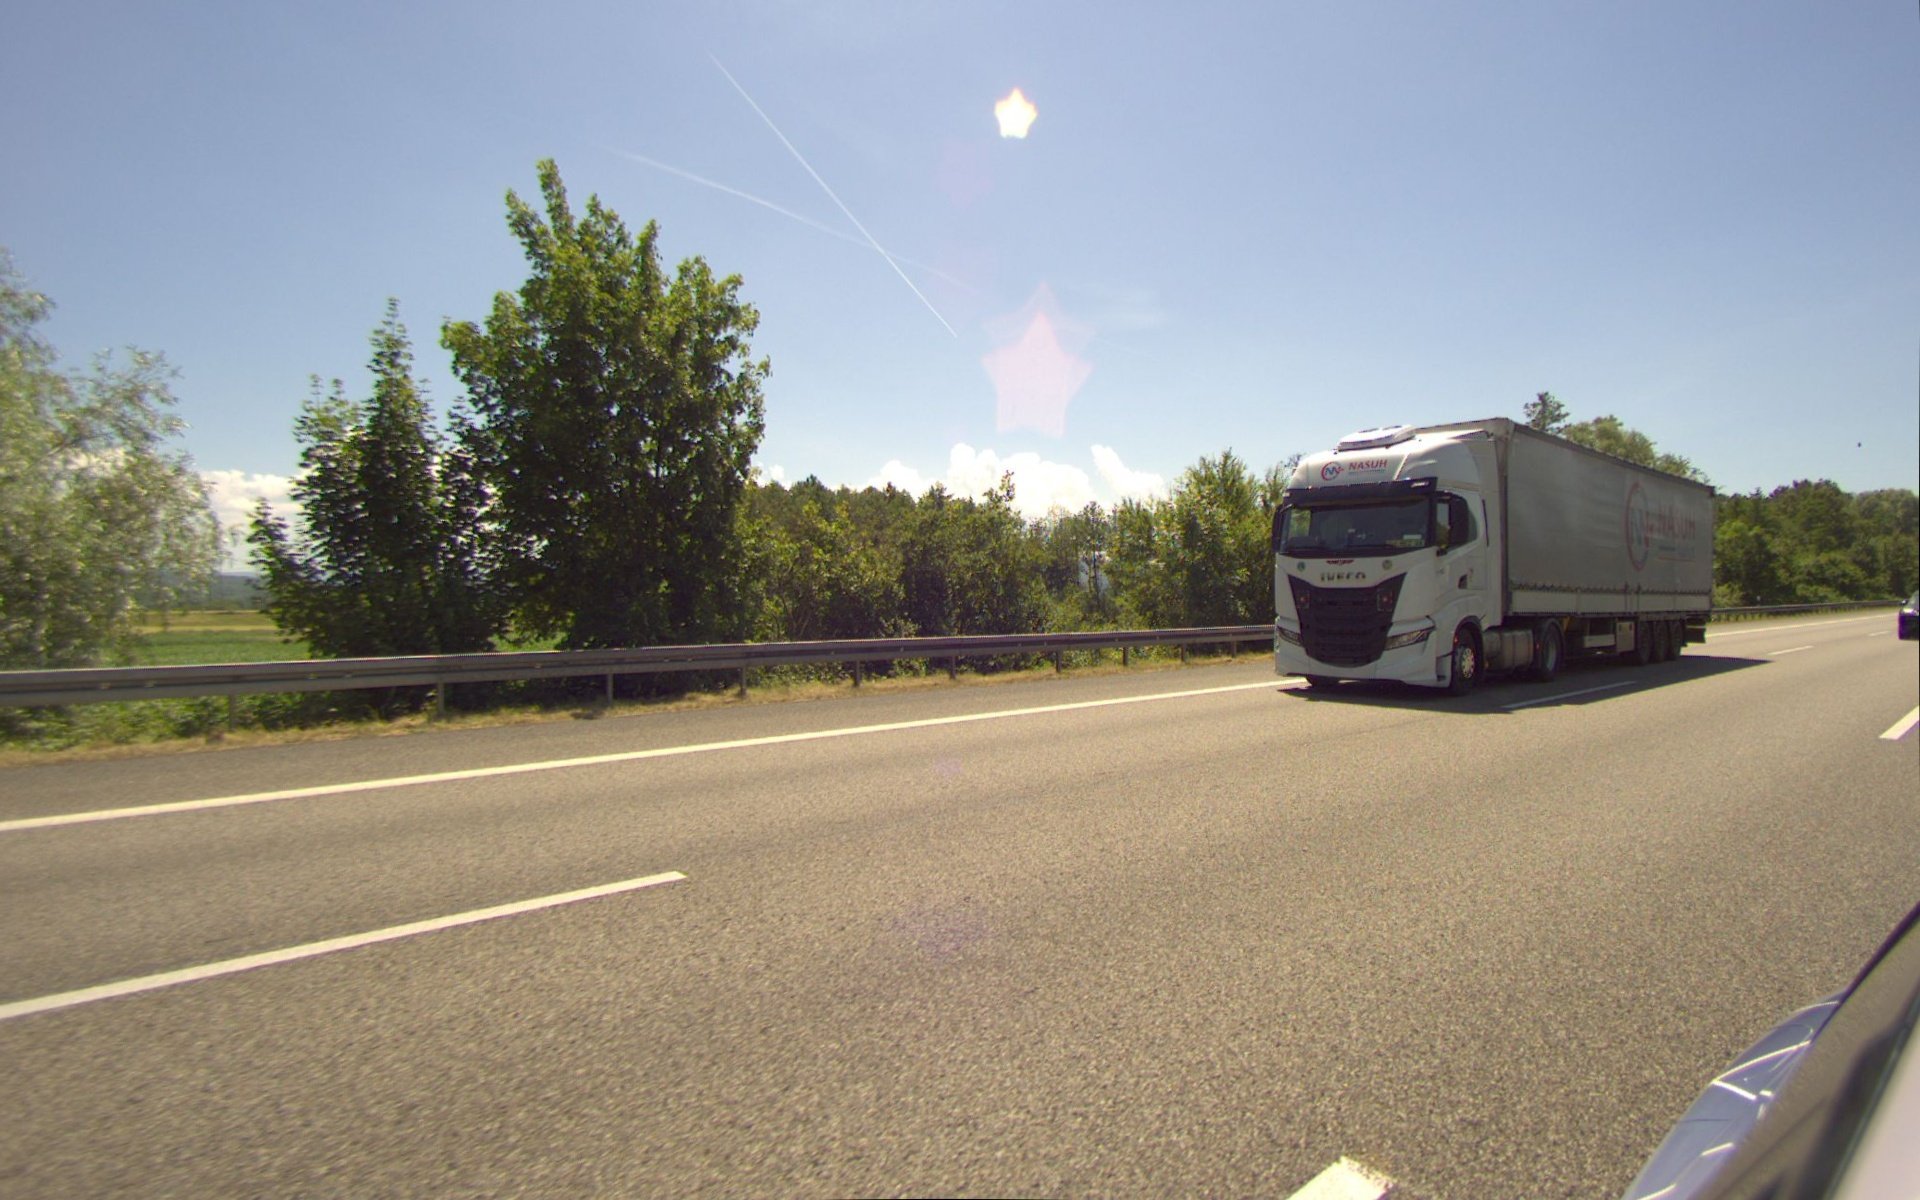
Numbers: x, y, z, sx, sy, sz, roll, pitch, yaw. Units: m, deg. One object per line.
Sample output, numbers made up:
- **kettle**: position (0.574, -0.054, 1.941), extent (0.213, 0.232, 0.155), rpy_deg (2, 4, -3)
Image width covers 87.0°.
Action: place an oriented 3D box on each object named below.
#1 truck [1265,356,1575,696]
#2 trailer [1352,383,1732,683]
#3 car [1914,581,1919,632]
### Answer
- **truck**: position (7.520, -1.020, 16.254), extent (5.476, 4.528, 2.539), rpy_deg (-1, 0, -42)
- **trailer**: position (12.693, -1.090, 20.877), extent (13.916, 4.528, 2.539), rpy_deg (-1, 0, -42)
- **car**: position (33.805, 0.186, 33.994), extent (5.671, 1.645, 2.047), rpy_deg (0, 0, -41)
